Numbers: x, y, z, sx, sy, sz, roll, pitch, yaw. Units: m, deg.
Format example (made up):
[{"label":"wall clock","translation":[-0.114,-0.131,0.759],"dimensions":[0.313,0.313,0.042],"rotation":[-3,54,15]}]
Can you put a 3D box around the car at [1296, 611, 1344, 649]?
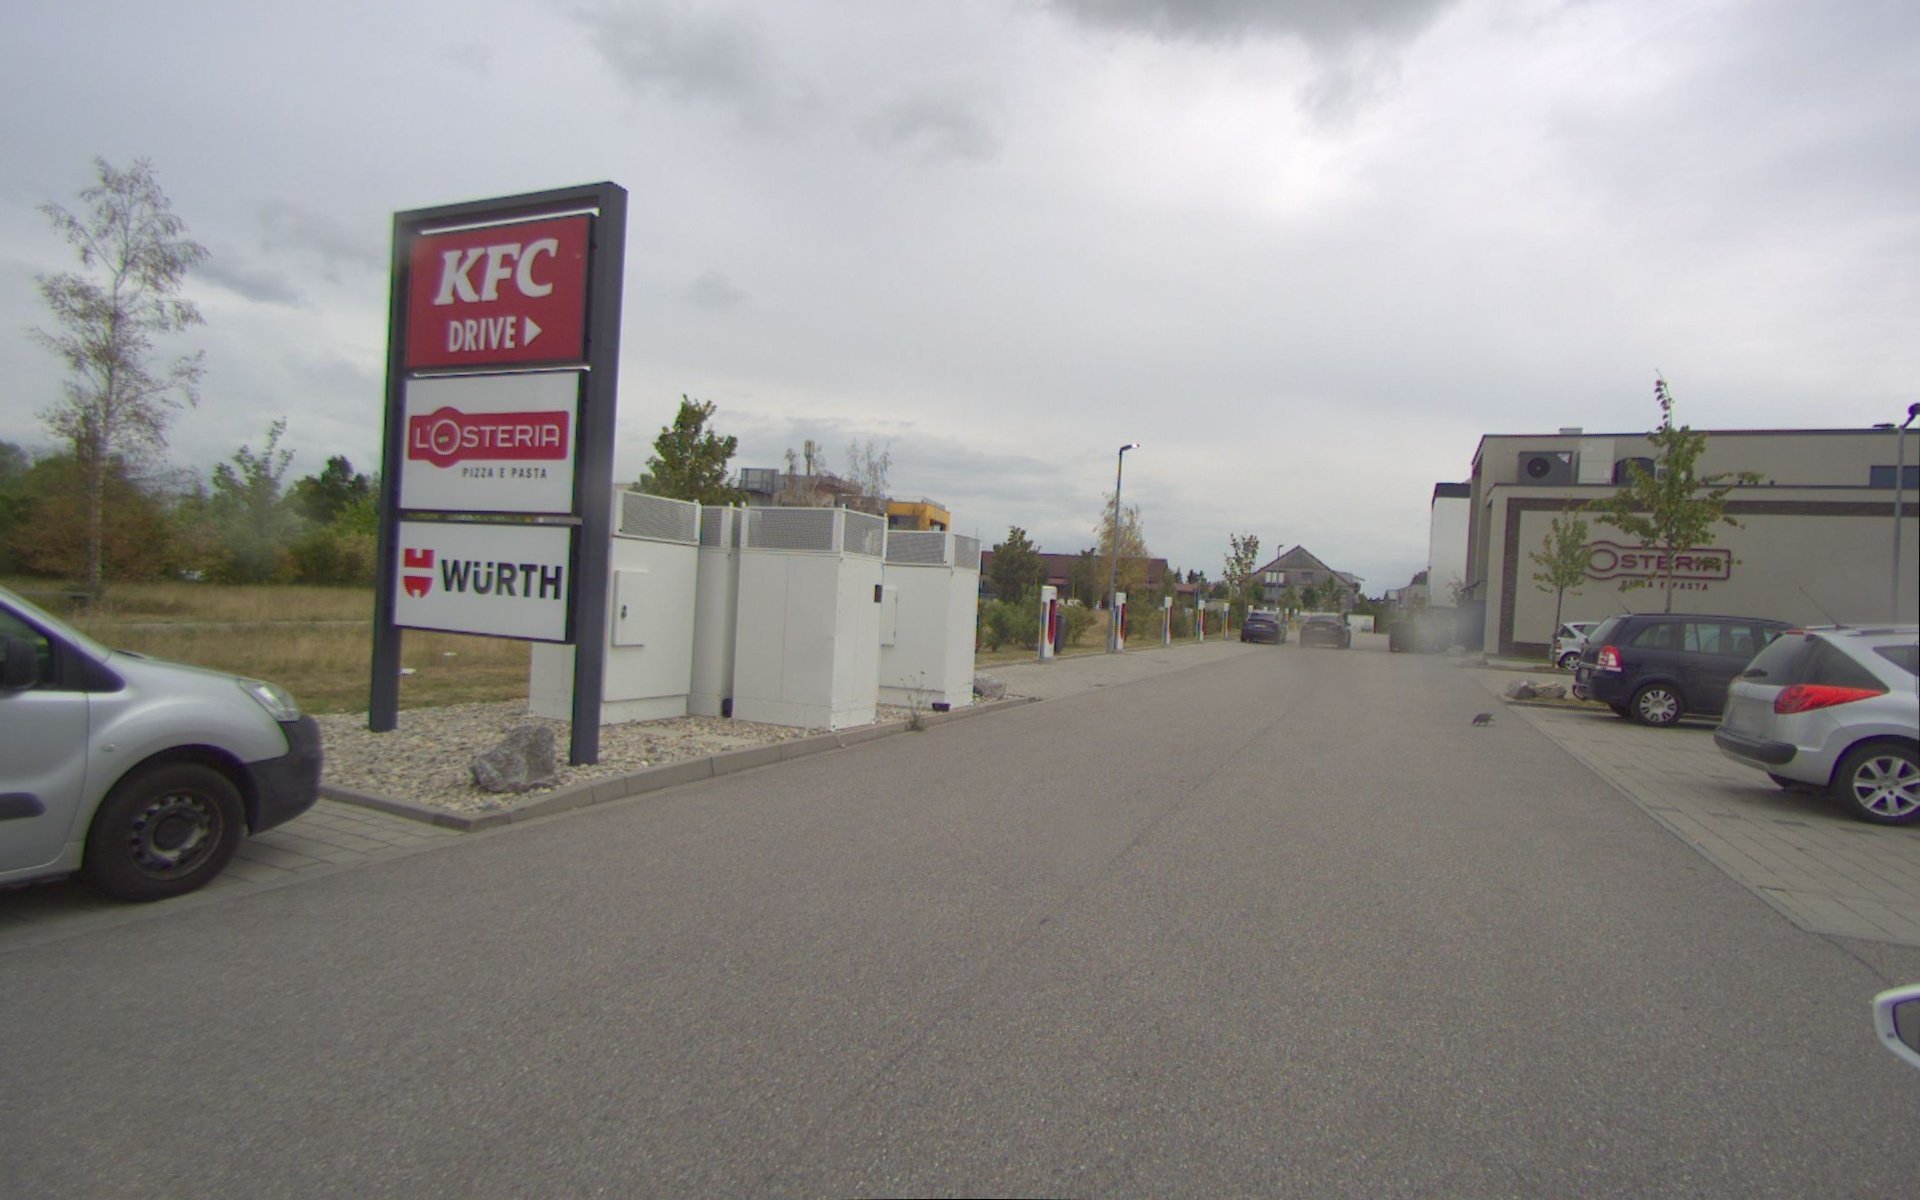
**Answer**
[{"label":"car","translation":[16.727,1.390,46.829],"dimensions":[1.960,1.617,4.001],"rotation":[2,-1,19]}]

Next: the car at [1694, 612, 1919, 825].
[{"label":"car","translation":[8.408,0.966,7.759],"dimensions":[4.088,1.525,1.628],"rotation":[3,0,23]}]

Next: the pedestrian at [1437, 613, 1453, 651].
[{"label":"pedestrian","translation":[22.057,1.473,45.698],"dimensions":[0.562,1.706,0.390],"rotation":[2,-1,18]}]

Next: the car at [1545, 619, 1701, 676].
[{"label":"car","translation":[20.700,1.458,31.542],"dimensions":[3.770,1.595,1.825],"rotation":[2,-1,24]}]

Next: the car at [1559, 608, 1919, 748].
[{"label":"car","translation":[11.341,1.057,14.491],"dimensions":[4.399,1.638,1.585],"rotation":[3,0,23]}]

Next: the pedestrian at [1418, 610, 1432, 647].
[{"label":"pedestrian","translation":[20.964,1.279,45.297],"dimensions":[0.425,1.666,0.387],"rotation":[1,-1,42]}]

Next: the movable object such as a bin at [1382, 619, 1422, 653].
[{"label":"movable object such as a bin","translation":[18.932,1.522,43.078],"dimensions":[1.339,1.368,1.873],"rotation":[2,-1,17]}]

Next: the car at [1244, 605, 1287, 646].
[{"label":"car","translation":[15.539,1.290,50.947],"dimensions":[1.799,1.795,4.001],"rotation":[5,0,19]}]

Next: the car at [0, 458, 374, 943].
[{"label":"car","translation":[-4.892,0.358,3.770],"dimensions":[1.909,1.913,4.335],"rotation":[2,-1,23]}]

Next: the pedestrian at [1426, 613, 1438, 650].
[{"label":"pedestrian","translation":[21.561,1.451,45.874],"dimensions":[0.423,1.666,0.389],"rotation":[2,-1,19]}]
